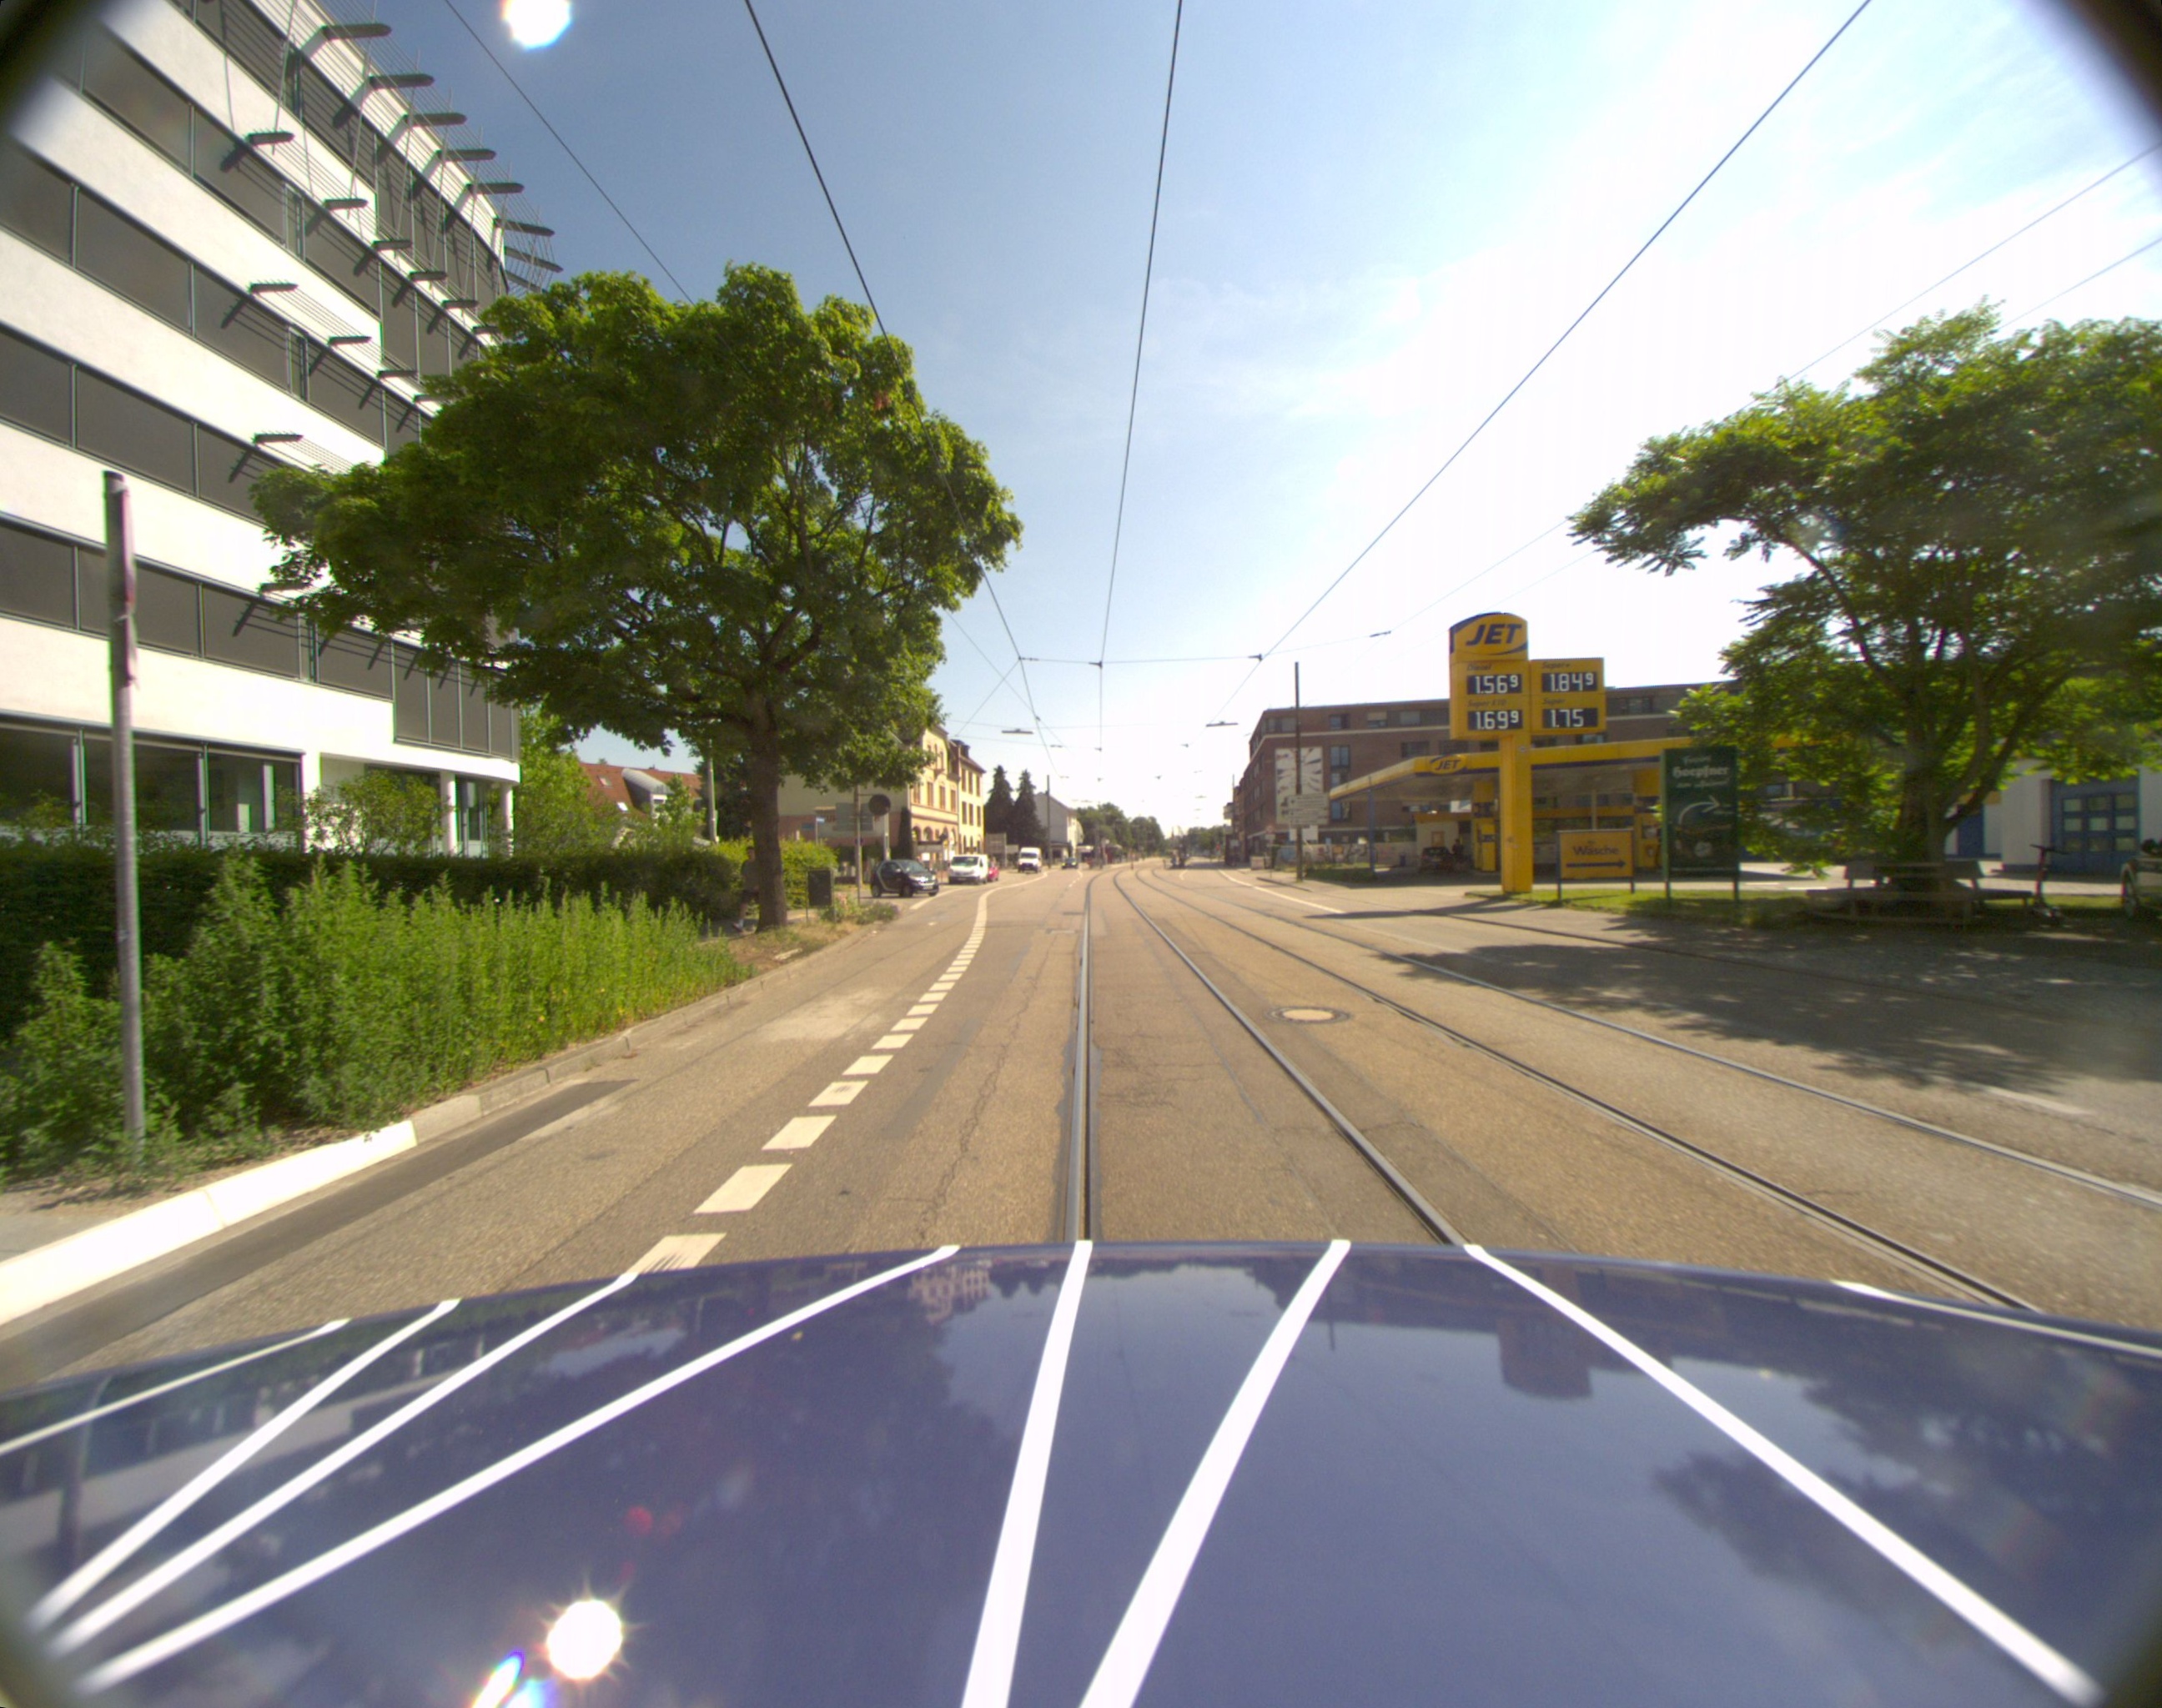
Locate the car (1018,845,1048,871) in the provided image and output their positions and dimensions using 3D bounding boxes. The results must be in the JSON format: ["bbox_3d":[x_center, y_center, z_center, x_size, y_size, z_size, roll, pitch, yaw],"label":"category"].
[{"bbox_3d":[-4.895,0.401,78.597,2.335,2.521,6.507,1,0,2],"label":"car"}]

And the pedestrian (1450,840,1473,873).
[{"bbox_3d":[20.321,0.143,40.600,0.858,1.715,0.745,-1,1,4],"label":"pedestrian"}]

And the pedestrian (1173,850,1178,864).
[{"bbox_3d":[11.620,0.391,93.628,0.557,1.750,0.793,-2,1,2],"label":"pedestrian"}]

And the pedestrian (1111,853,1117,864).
[{"bbox_3d":[4.843,0.631,111.523,0.707,1.680,0.416,-1,1,0],"label":"pedestrian"}]

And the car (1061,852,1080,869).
[{"bbox_3d":[-1.227,0.798,91.953,1.998,2.002,4.001,-1,0,3],"label":"car"}]

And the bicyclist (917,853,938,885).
[{"bbox_3d":[-7.637,0.744,37.839,0.965,1.586,0.905,-1,1,-11],"label":"bicyclist"}]

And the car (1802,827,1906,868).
[{"bbox_3d":[40.081,-0.351,39.561,1.757,1.971,5.315,-2,0,21],"label":"car"}]

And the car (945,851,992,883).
[{"bbox_3d":[-7.131,0.791,48.657,2.089,2.002,4.909,0,0,2],"label":"car"}]

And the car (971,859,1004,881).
[{"bbox_3d":[-6.736,1.127,54.883,1.724,1.398,4.001,-2,0,2],"label":"car"}]

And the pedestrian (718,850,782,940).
[{"bbox_3d":[-6.927,0.827,15.961,0.892,1.807,1.073,-2,0,-6],"label":"pedestrian"}]

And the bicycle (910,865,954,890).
[{"bbox_3d":[-7.434,1.171,37.886,2.123,1.190,0.611,-1,0,-10],"label":"bicycle"}]

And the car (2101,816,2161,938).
[{"bbox_3d":[15.712,0.272,10.013,2.014,1.631,4.669,-1,0,45],"label":"car"}]

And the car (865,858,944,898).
[{"bbox_3d":[-7.264,0.955,31.241,2.968,1.529,1.482,-1,0,33],"label":"car"}]

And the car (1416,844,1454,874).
[{"bbox_3d":[19.787,0.287,42.483,1.757,1.446,4.417,-5,-2,25],"label":"car"}]
